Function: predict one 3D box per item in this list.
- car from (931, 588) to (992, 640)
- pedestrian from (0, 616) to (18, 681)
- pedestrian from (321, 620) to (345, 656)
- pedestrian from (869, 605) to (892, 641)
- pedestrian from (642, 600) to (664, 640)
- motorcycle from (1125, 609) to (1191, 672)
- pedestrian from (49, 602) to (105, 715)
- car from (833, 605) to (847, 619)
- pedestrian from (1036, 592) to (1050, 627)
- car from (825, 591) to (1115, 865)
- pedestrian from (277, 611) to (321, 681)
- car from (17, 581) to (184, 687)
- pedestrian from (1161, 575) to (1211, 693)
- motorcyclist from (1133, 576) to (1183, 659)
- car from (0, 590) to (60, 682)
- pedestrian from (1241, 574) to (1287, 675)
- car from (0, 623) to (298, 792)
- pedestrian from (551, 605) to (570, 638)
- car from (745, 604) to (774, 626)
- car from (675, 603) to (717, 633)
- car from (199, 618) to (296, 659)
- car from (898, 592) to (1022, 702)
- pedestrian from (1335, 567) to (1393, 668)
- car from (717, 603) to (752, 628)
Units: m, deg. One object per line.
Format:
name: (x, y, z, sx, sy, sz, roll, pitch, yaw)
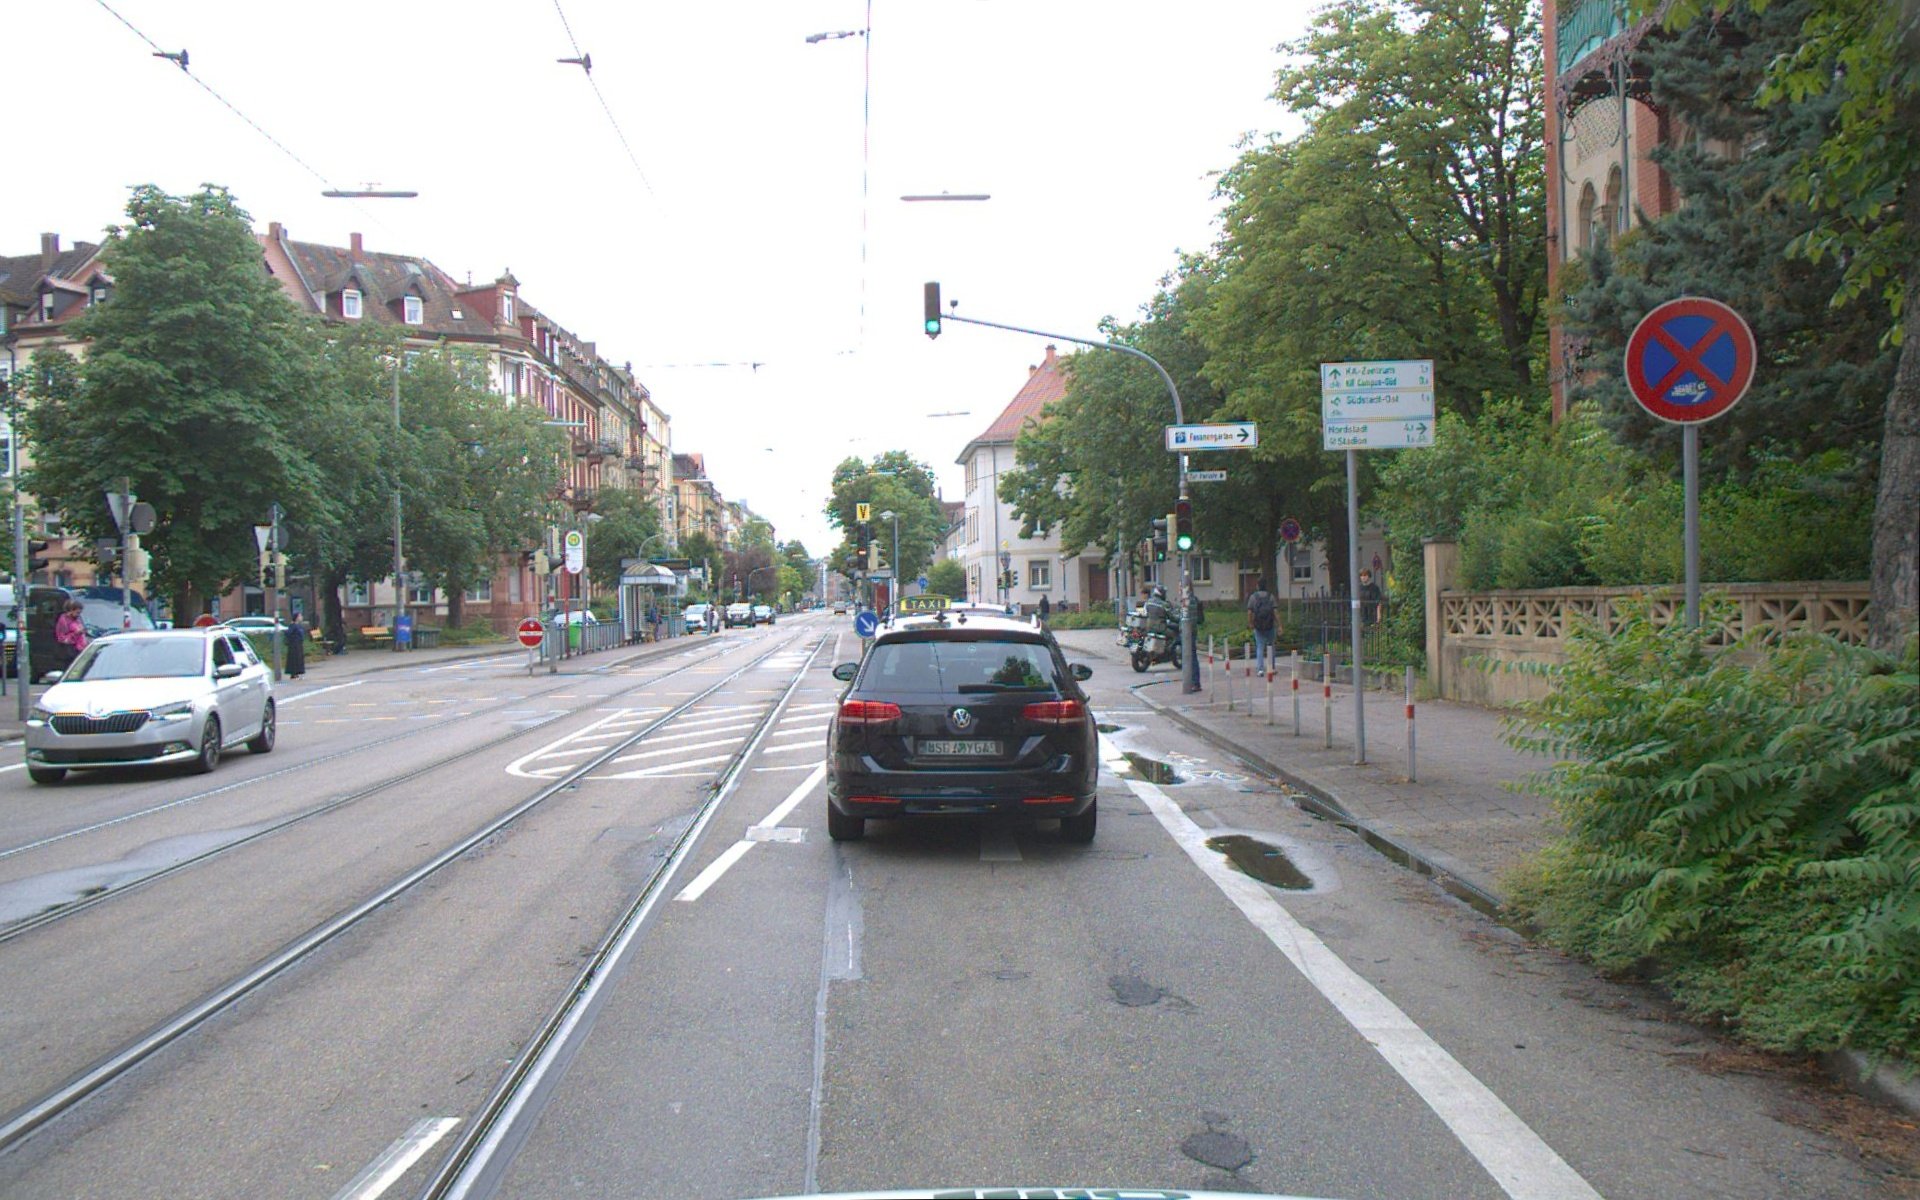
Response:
car: (0.006, 0.431, 53.252, 1.689, 1.573, 3.997, -1, 0, -4)
pedestrian: (-25.896, 1.317, 44.624, 0.694, 1.745, 0.543, -1, 0, -44)
pedestrian: (-21.480, 1.290, 56.653, 0.582, 1.189, 0.835, -2, 0, -32)
pedestrian: (-2.954, 0.855, 61.542, 0.806, 1.327, 0.568, -2, 0, -4)
pedestrian: (-12.059, 0.772, 65.008, 0.700, 1.547, 0.589, -2, 0, -2)
motorcycle: (4.230, 0.853, 35.265, 0.439, 1.257, 1.897, -2, 0, 39)
pedestrian: (-14.906, 0.978, 27.932, 0.611, 1.874, 0.609, -2, 0, -6)
car: (-17.792, 1.849, 245.028, 1.992, 2.049, 3.997, -1, -1, -4)
pedestrian: (3.843, 0.436, 76.917, 0.570, 1.581, 0.609, -1, 0, -1)
car: (-0.053, 0.748, 11.769, 1.689, 1.573, 3.997, -1, 0, -4)
pedestrian: (-16.341, 1.123, 40.888, 0.820, 1.692, 0.591, -2, 0, -2)
car: (-21.628, 0.853, 41.508, 5.289, 2.459, 2.171, -2, 0, 44)
pedestrian: (3.706, 0.553, 27.179, 0.574, 1.862, 0.604, -5, 0, -3)
motorcyclist: (4.211, 0.365, 35.220, 0.692, 1.722, 0.800, -2, 0, 40)
car: (-28.398, 1.082, 49.291, 2.161, 2.571, 5.313, -2, 0, -35)
pedestrian: (5.673, 0.451, 30.883, 0.620, 1.846, 0.725, -2, 0, -6)
car: (-8.421, 1.034, 17.501, 1.658, 1.435, 3.992, -3, 0, -8)
pedestrian: (-18.993, 1.002, 78.661, 0.577, 1.547, 0.647, -2, 0, 32)
car: (-15.577, 1.125, 128.441, 1.759, 1.624, 3.999, -2, 0, -1)
car: (-14.980, 1.020, 94.129, 1.759, 1.624, 3.999, -2, 0, -1)
car: (-31.801, 1.692, 73.926, 3.792, 1.651, 1.717, -2, 0, -19)
car: (-0.074, 0.681, 26.133, 1.689, 1.573, 3.997, -1, 0, -4)
pedestrian: (7.540, 0.323, 30.889, 0.648, 1.863, 0.787, -1, 0, -44)
car: (-15.010, 1.014, 110.327, 1.759, 1.624, 3.999, -2, 0, -1)
